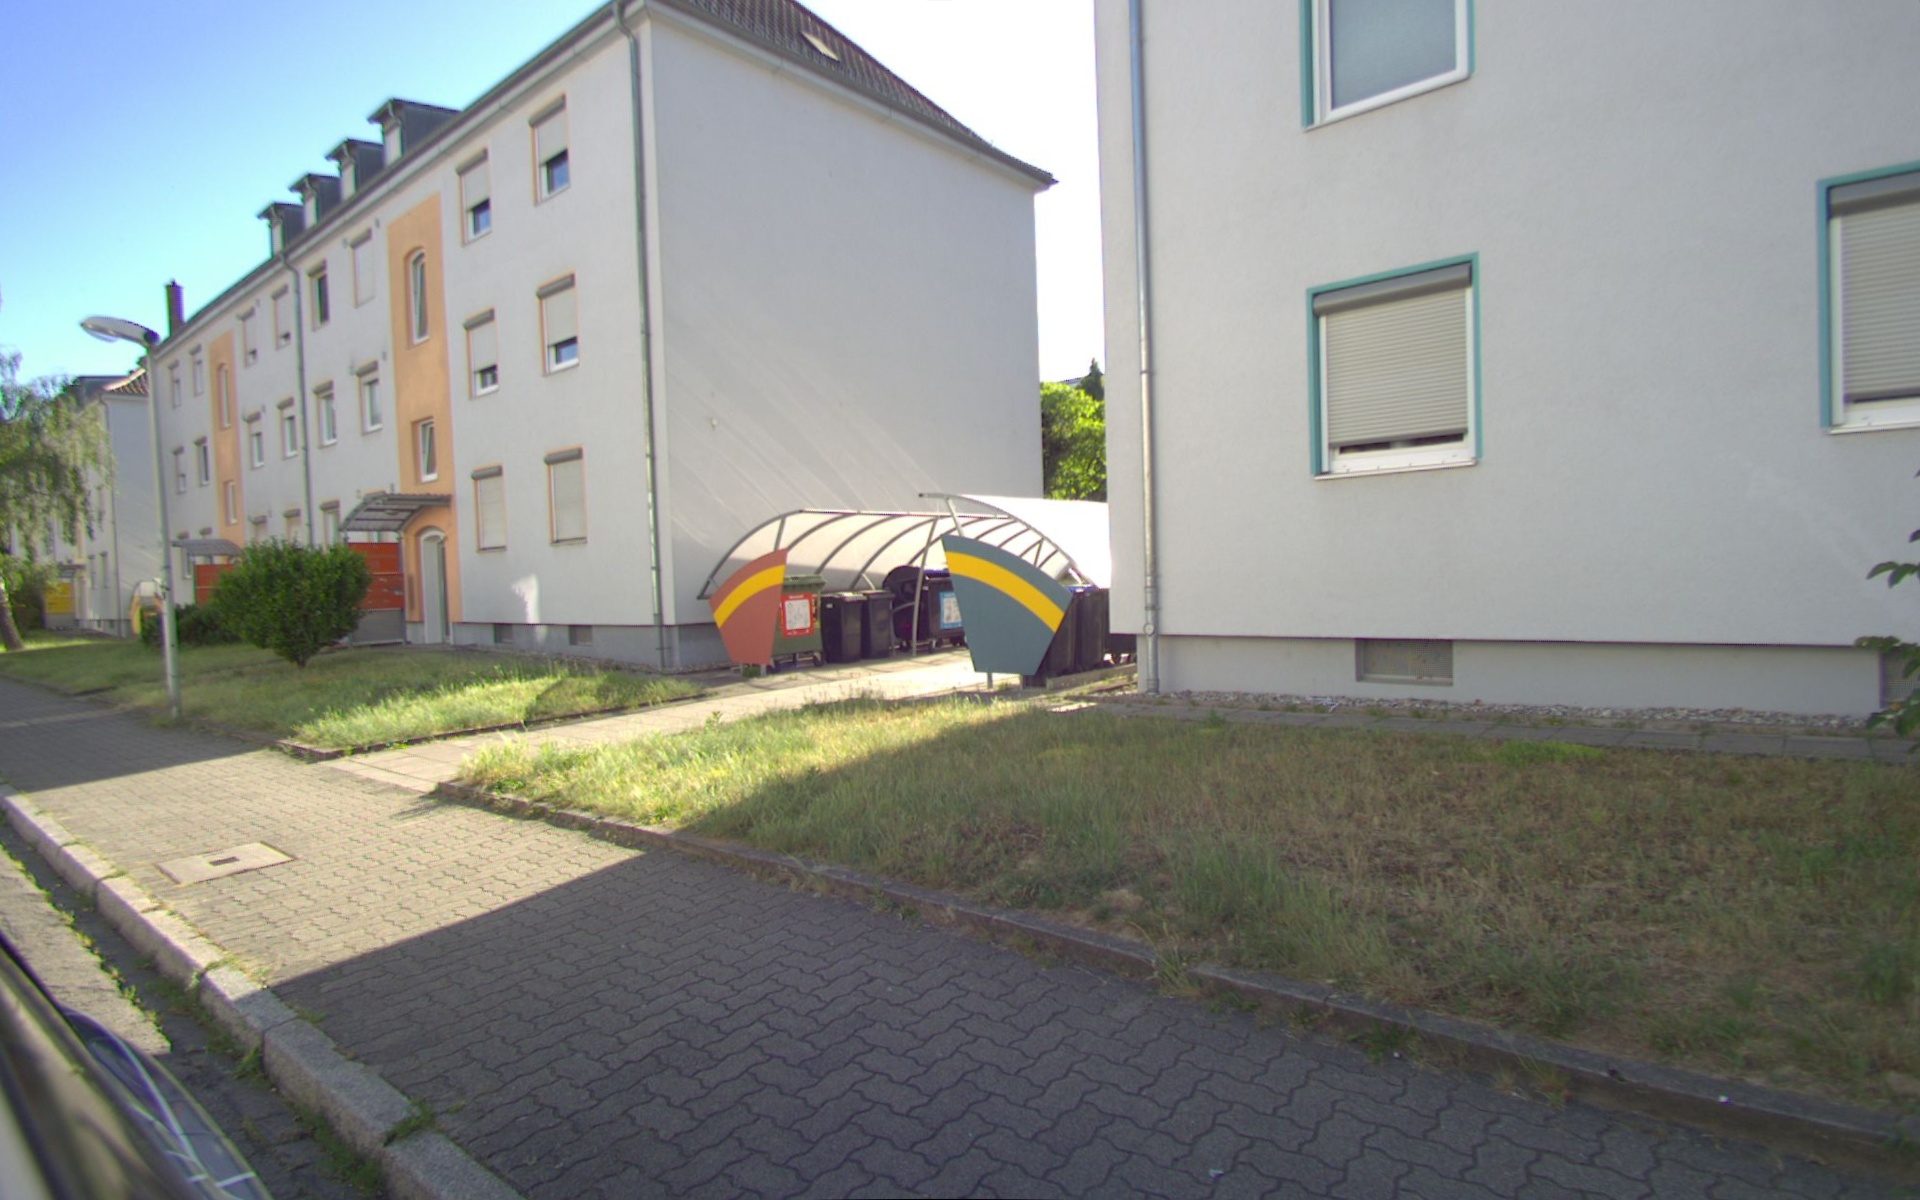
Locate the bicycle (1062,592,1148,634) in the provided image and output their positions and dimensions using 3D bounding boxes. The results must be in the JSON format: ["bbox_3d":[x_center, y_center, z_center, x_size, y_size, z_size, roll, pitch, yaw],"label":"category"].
[{"bbox_3d":[2.954,0.268,20.776,1.732,0.803,0.503,-2,2,42],"label":"bicycle"}]

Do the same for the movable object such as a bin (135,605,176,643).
[{"bbox_3d":[-32.135,0.962,40.427,0.812,1.416,1.073,-2,2,41],"label":"movable object such as a bin"}]

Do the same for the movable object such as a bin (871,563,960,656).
[{"bbox_3d":[-0.738,0.152,16.850,0.946,1.452,1.049,-2,2,40],"label":"movable object such as a bin"}]

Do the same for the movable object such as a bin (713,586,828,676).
[{"bbox_3d":[-2.717,0.429,14.580,0.909,1.177,1.300,-2,1,40],"label":"movable object such as a bin"}]

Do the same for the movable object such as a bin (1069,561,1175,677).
[{"bbox_3d":[2.049,0.213,12.702,0.903,1.366,1.241,-2,1,29],"label":"movable object such as a bin"}]

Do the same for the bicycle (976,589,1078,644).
[{"bbox_3d":[1.227,0.312,18.926,1.929,0.955,0.544,-2,3,42],"label":"bicycle"}]

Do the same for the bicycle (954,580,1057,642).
[{"bbox_3d":[0.800,0.209,18.429,1.940,1.075,0.503,-2,2,42],"label":"bicycle"}]
